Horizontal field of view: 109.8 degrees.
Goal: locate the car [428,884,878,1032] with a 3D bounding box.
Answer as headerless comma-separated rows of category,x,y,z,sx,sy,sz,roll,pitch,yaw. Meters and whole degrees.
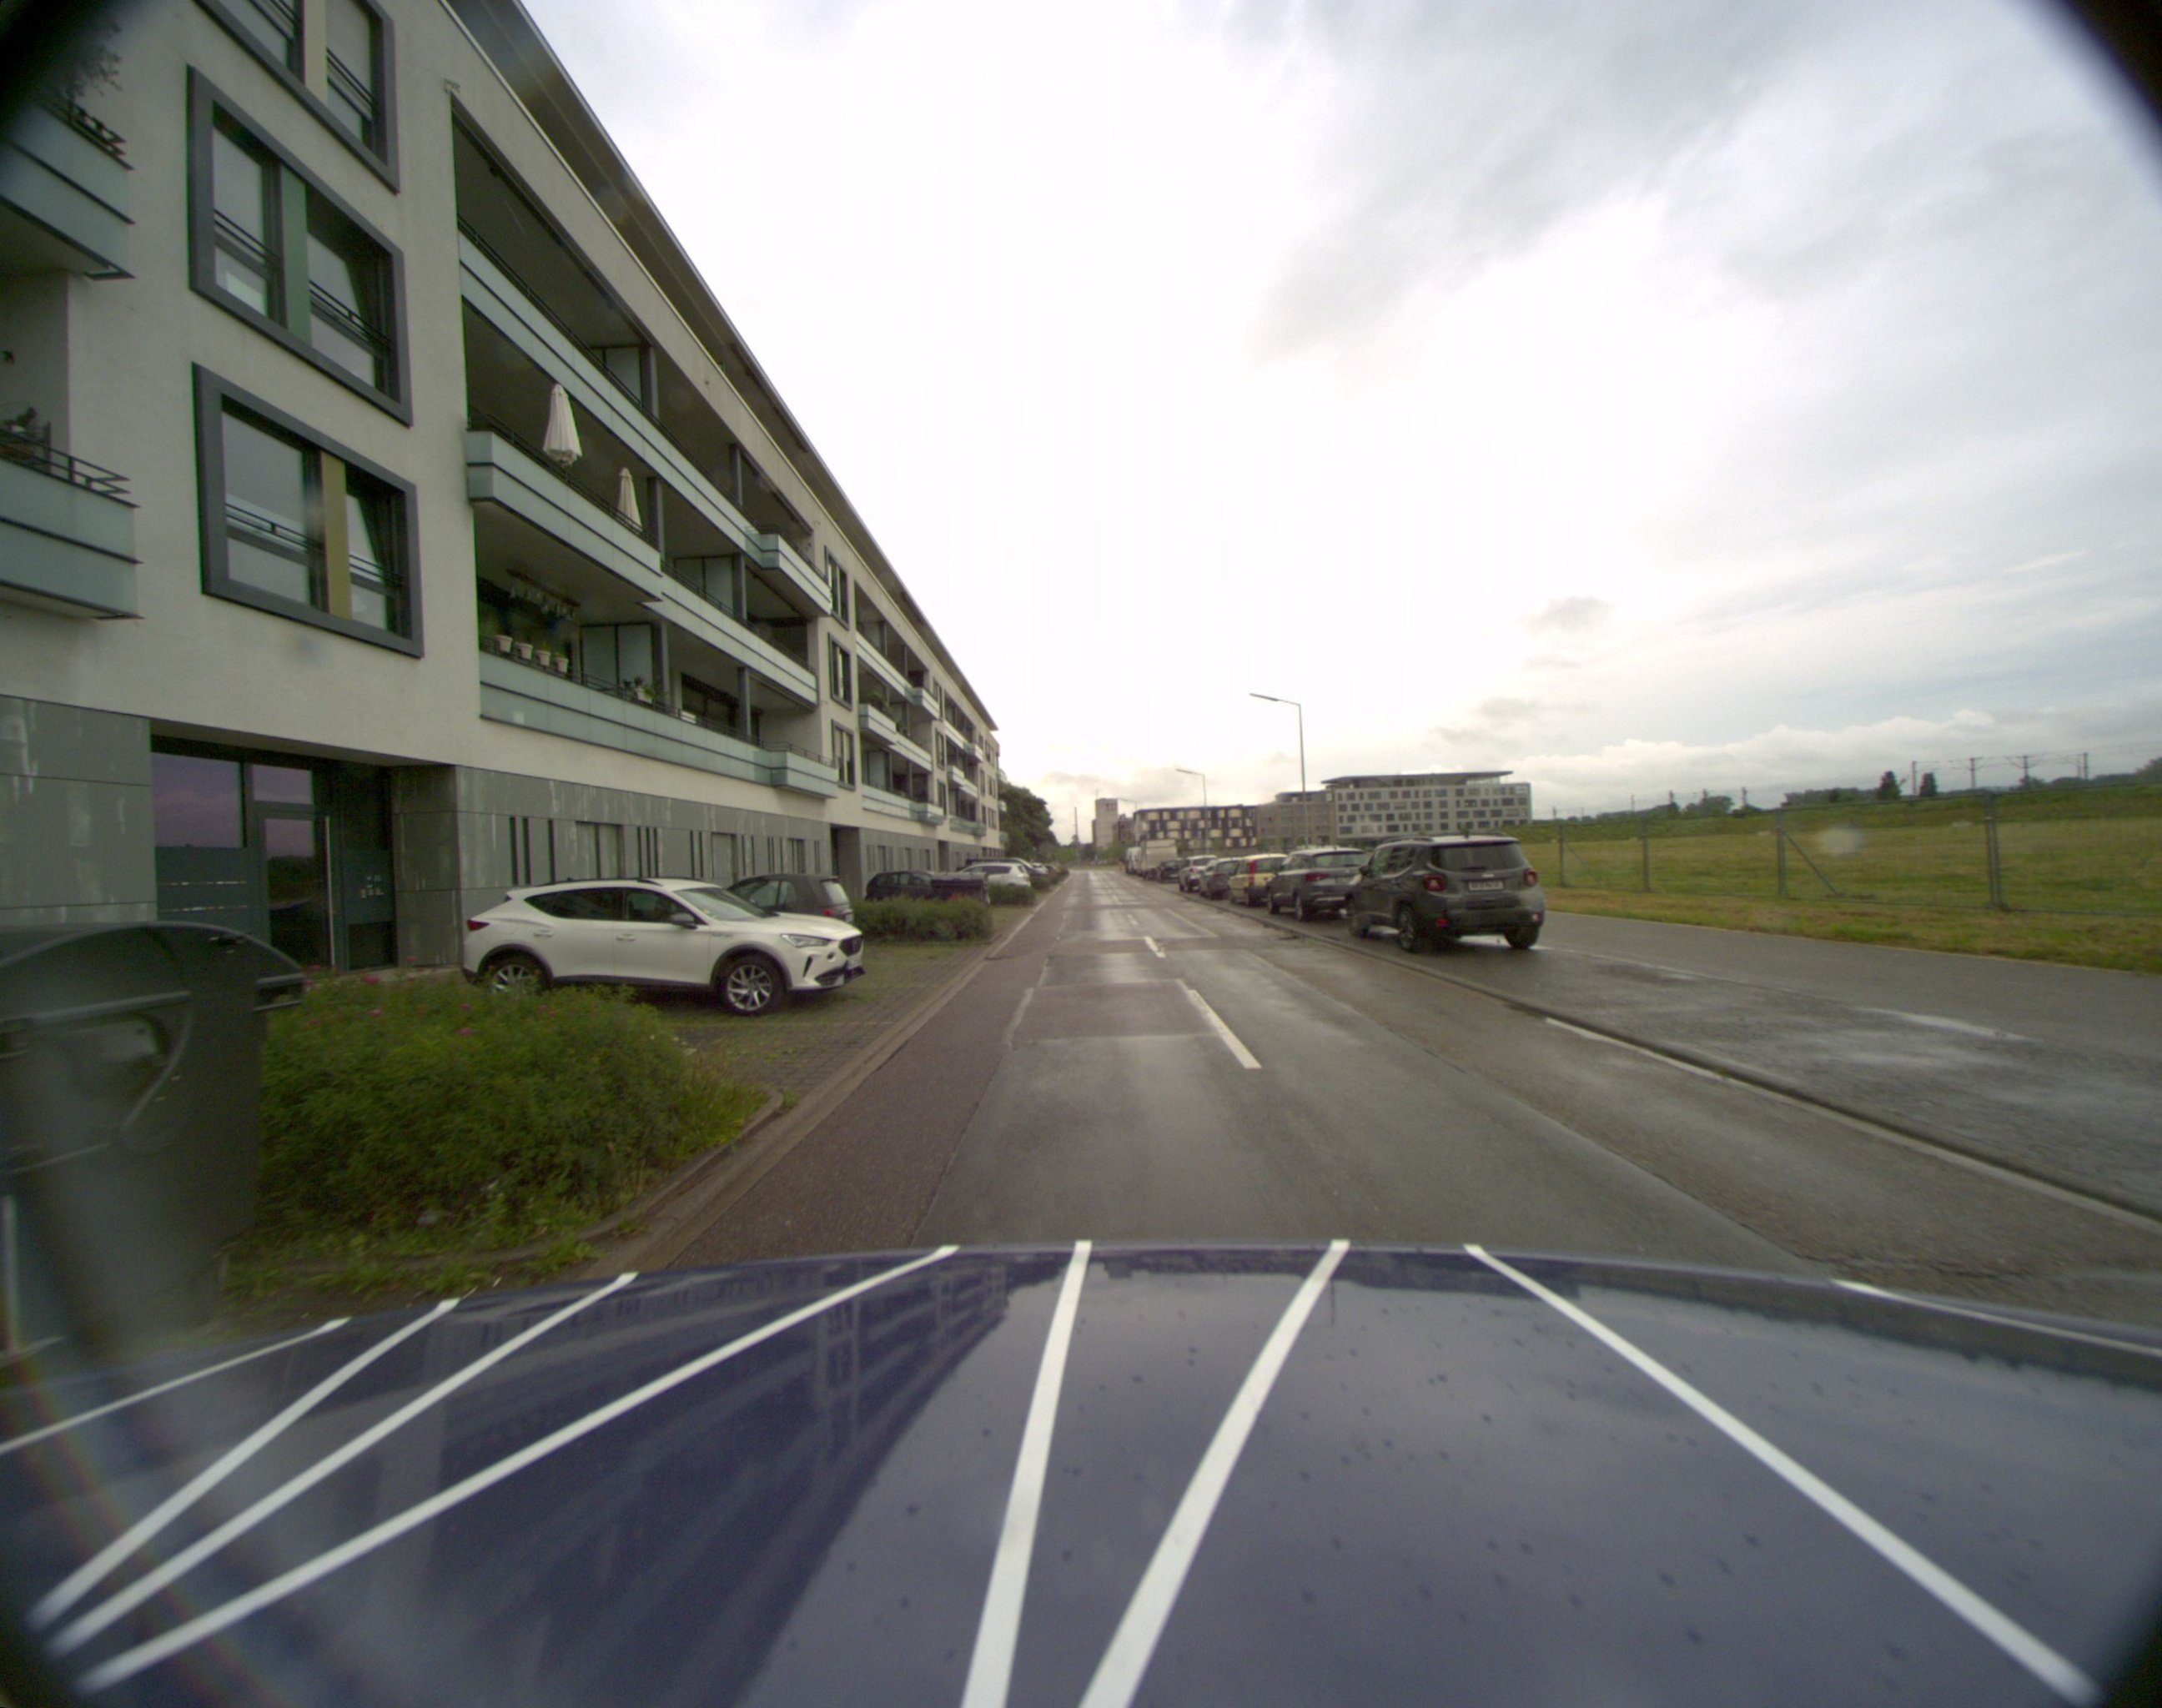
car,-4.904,1.170,9.170,4.356,1.521,1.893,-1,0,2

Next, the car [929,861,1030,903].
car,-4.467,1.217,33.859,4.218,1.634,1.687,-2,1,0

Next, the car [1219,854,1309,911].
car,5.666,0.820,24.062,1.730,1.566,4.210,-3,0,-1

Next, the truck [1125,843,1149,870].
truck,6.161,0.280,84.198,2.180,2.730,5.290,-3,0,1

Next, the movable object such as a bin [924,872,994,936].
movable object such as a bin,-2.928,1.179,18.385,1.499,1.484,1.156,0,0,1

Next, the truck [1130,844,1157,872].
truck,6.286,0.428,77.089,2.180,2.591,6.132,-3,0,1

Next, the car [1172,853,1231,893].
car,5.600,0.871,35.932,1.857,1.598,4.989,-6,0,0

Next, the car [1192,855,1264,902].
car,5.574,0.882,29.403,1.842,1.519,4.670,-5,0,1

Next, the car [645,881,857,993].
car,-4.806,1.180,11.311,2.631,1.498,1.207,-1,0,-5

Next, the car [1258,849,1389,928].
car,5.589,0.751,18.062,1.757,1.581,4.134,-3,-1,1

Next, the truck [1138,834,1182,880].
truck,5.815,0.221,56.883,2.442,3.050,6.700,-4,0,0

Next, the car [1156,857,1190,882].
car,5.861,0.982,48.960,1.676,1.454,4.157,-2,0,1

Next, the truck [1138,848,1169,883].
truck,6.372,0.994,67.712,2.046,2.750,6.738,-4,0,1

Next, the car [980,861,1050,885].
car,-4.454,1.274,51.862,4.428,1.592,2.083,-1,0,5

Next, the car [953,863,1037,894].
car,-4.378,1.254,39.335,4.187,1.474,1.750,-1,0,-3

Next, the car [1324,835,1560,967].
car,5.589,0.653,12.561,1.757,1.683,4.882,-3,-1,3

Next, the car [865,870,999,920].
car,-4.664,1.273,24.148,3.855,1.482,1.763,-1,0,2

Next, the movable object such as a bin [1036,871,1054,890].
movable object such as a bin,-2.060,1.490,43.231,0.815,1.040,0.541,-3,0,39

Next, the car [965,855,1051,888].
car,-4.434,1.075,46.637,5.062,1.917,1.982,-1,0,0

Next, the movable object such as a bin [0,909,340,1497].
movable object such as a bin,-3.586,1.003,2.163,1.303,1.517,1.582,-3,0,1
